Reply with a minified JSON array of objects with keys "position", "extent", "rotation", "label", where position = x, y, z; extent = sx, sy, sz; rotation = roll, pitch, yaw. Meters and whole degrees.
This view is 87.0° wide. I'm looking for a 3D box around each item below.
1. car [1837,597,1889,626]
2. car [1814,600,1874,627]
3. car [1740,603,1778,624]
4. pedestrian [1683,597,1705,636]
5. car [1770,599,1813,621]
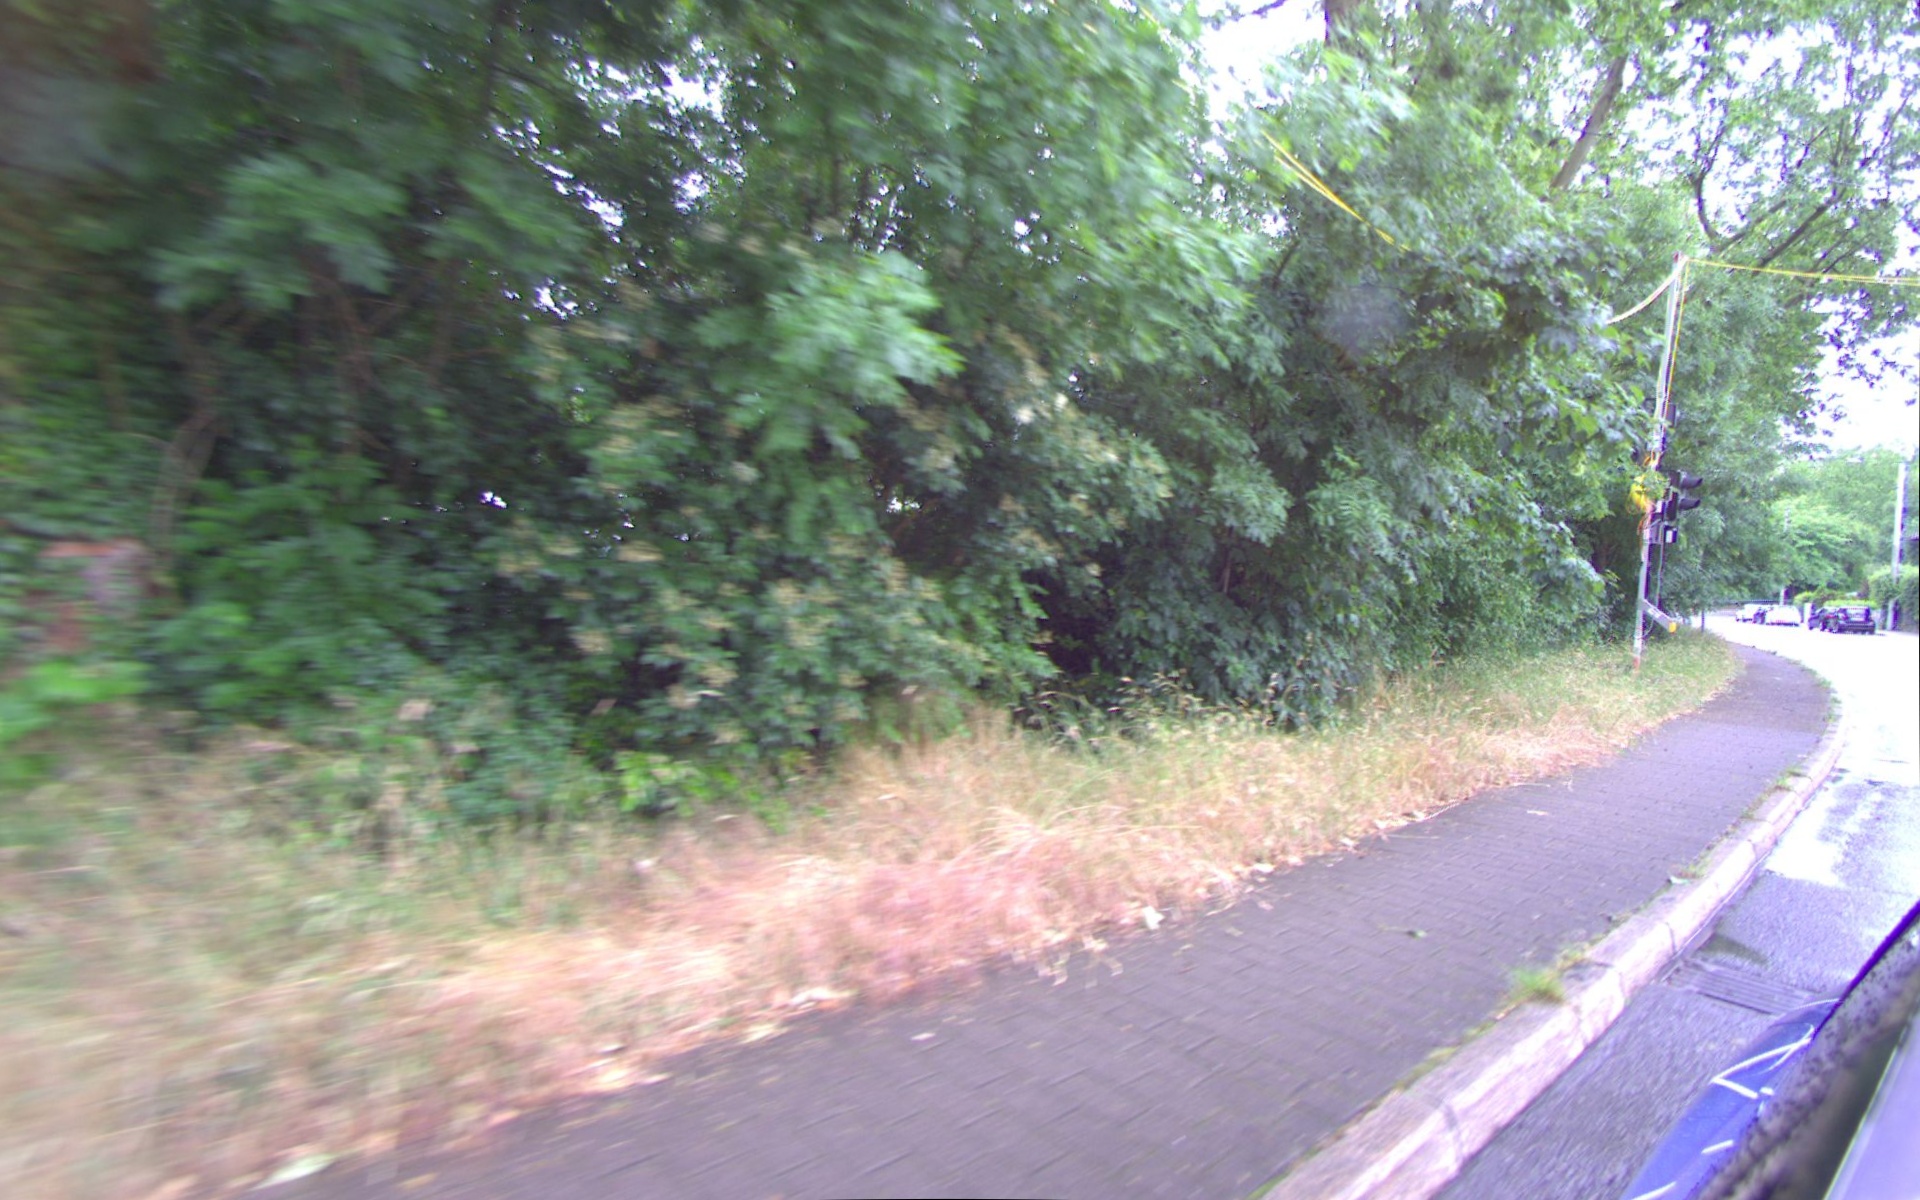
[{"position":[50.409,0.630,56.546],"extent":[1.512,1.472,2.996],"rotation":[4,2,31],"label":"car"},{"position":[52.466,0.752,60.136],"extent":[1.678,1.435,4.174],"rotation":[4,2,28],"label":"car"},{"position":[64.529,1.069,81.754],"extent":[1.723,1.439,4.240],"rotation":[-3,1,30],"label":"car"},{"position":[31.831,0.722,43.899],"extent":[0.638,1.631,0.663],"rotation":[2,2,30],"label":"pedestrian"},{"position":[59.879,0.684,72.941],"extent":[1.689,1.486,3.673],"rotation":[2,1,29],"label":"car"}]
